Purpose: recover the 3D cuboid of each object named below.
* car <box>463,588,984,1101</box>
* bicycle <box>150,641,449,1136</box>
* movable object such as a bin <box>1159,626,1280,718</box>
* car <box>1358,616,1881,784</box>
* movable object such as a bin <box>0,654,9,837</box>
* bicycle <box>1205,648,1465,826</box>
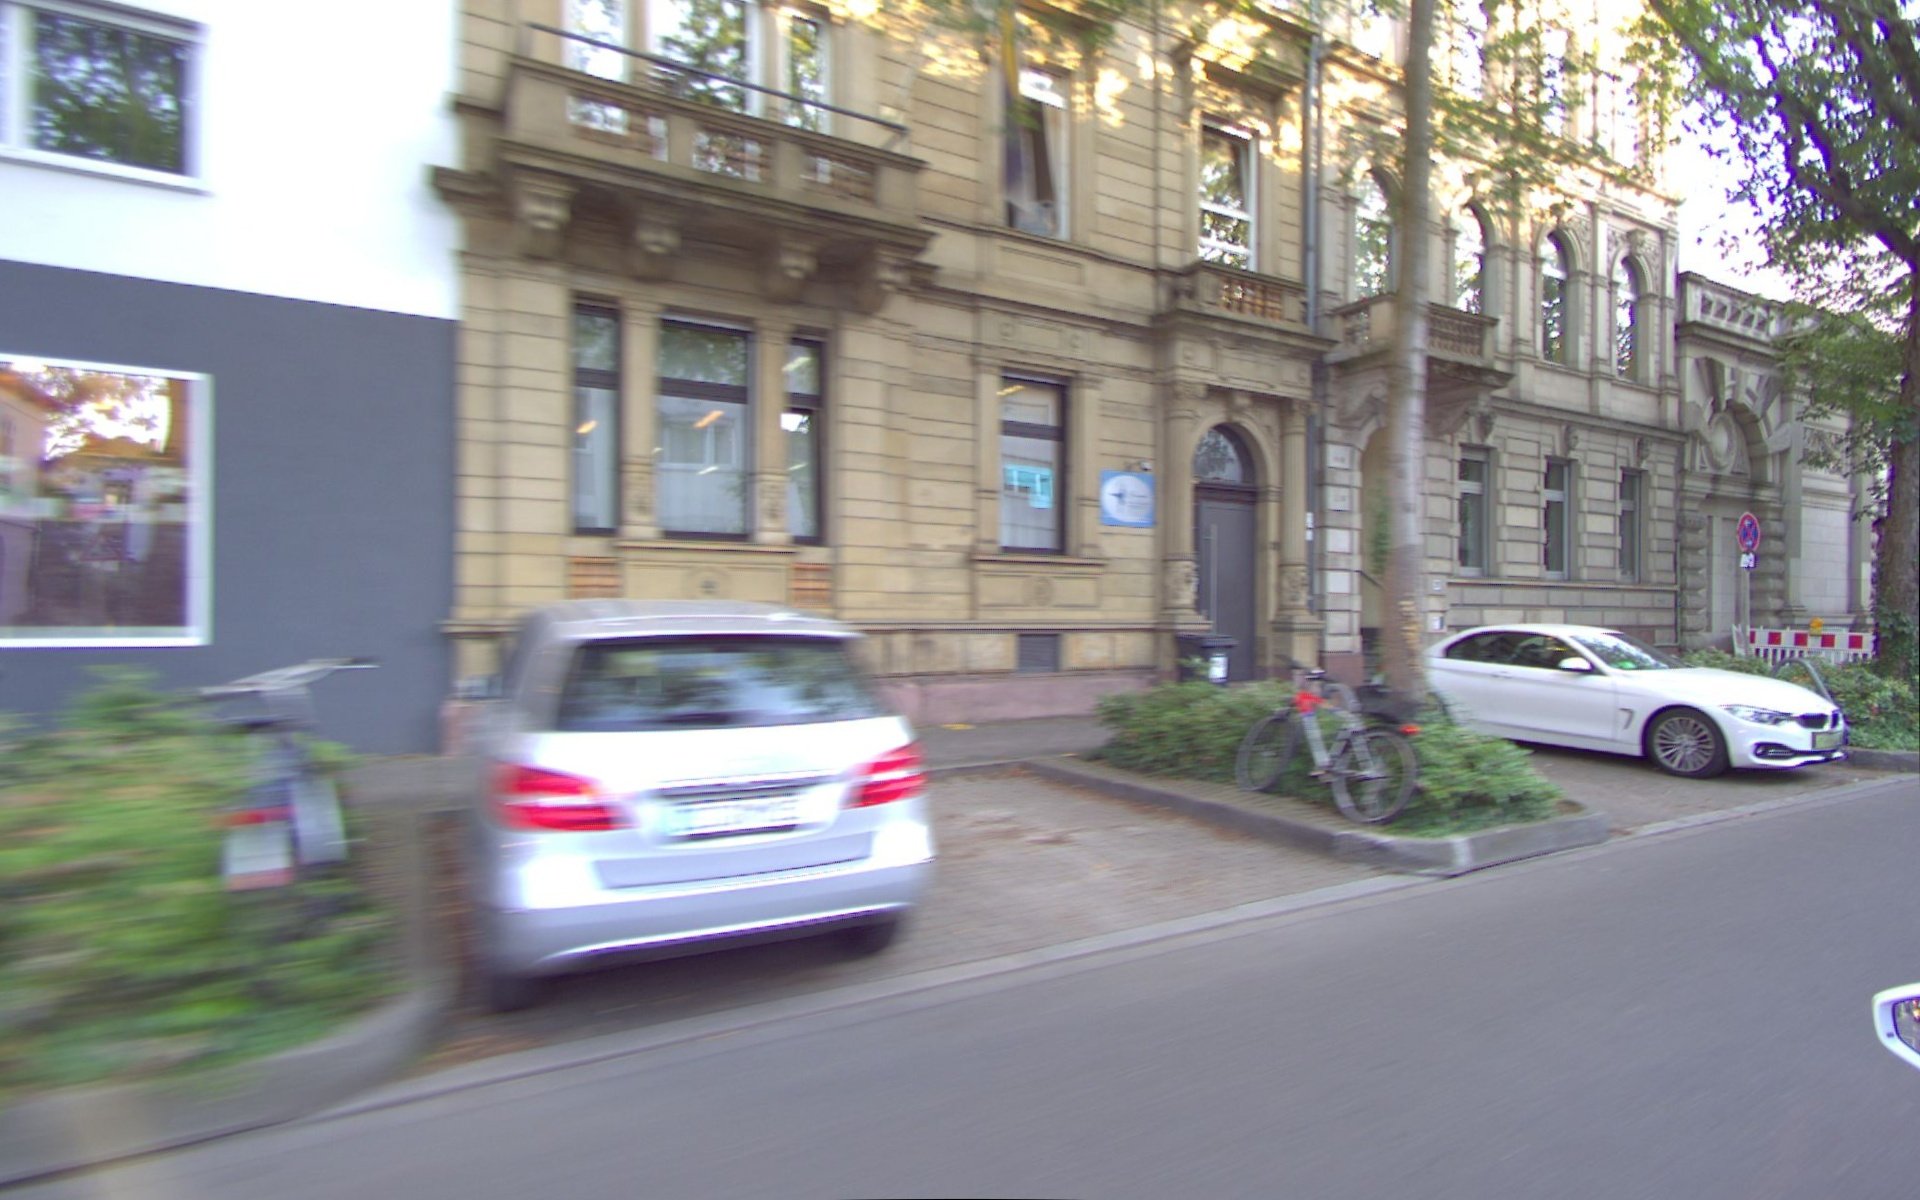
[{"bbox_3d":[-1.637,0.773,5.367,1.803,1.578,4.156,1,-1,-27],"label":"car"},{"bbox_3d":[-2.509,0.862,3.823,0.766,1.344,1.782,0,0,-35],"label":"bicycle"},{"bbox_3d":[3.317,0.887,12.860,1.301,1.076,0.796,1,1,-31],"label":"movable object such as a bin"},{"bbox_3d":[6.858,0.902,11.061,1.892,1.409,4.496,1,-1,-27],"label":"car"},{"bbox_3d":[-6.094,0.852,5.371,1.301,1.076,0.771,1,-1,-31],"label":"movable object such as a bin"},{"bbox_3d":[2.602,0.896,7.197,0.591,1.022,1.786,1,0,-29],"label":"bicycle"}]
